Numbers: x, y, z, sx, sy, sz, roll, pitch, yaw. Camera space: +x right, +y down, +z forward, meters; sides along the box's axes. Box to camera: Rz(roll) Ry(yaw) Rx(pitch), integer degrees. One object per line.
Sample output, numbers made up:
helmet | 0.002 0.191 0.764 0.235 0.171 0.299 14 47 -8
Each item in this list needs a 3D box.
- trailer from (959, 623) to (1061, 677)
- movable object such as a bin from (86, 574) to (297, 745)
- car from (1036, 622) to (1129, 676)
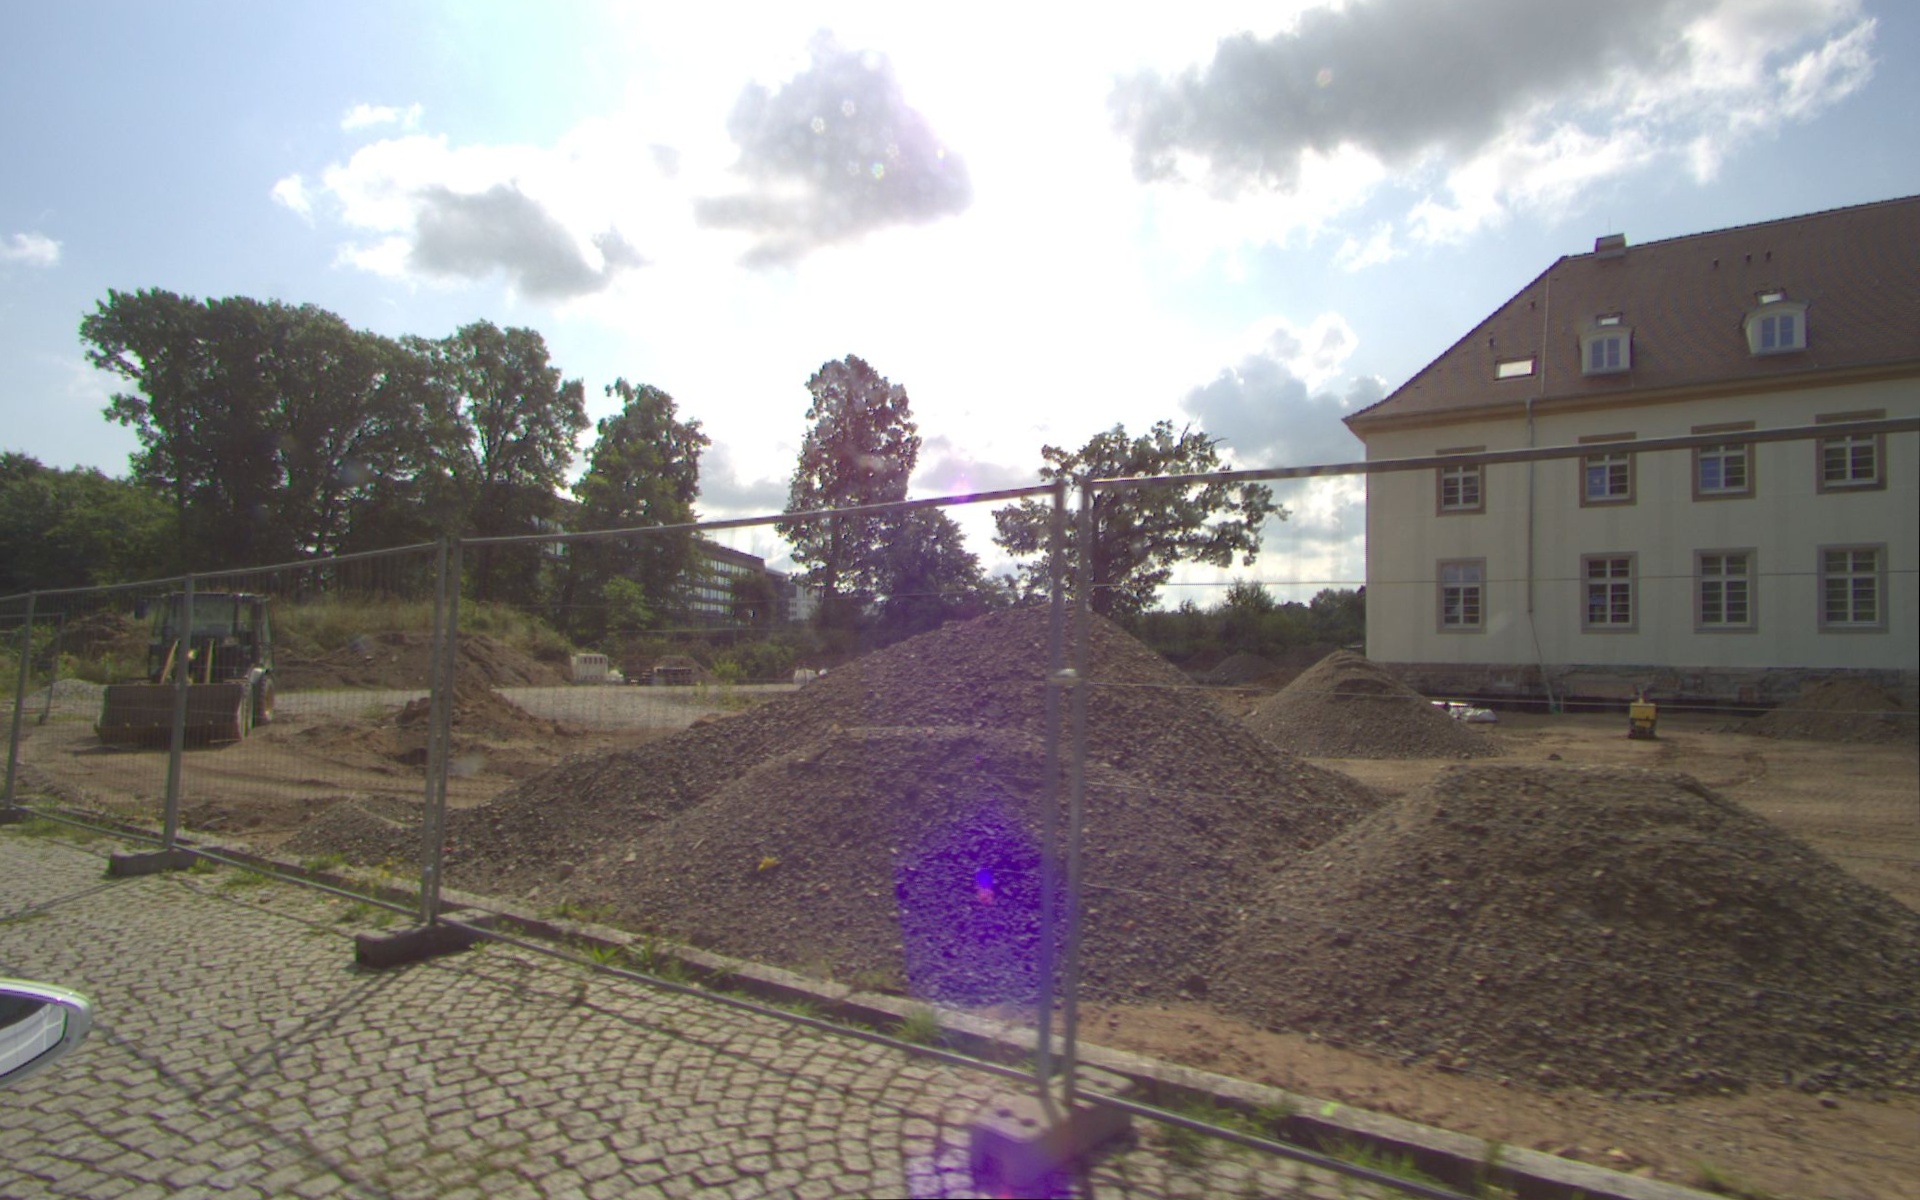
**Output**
trailer | 2.440 2.406 48.327 4.785 2.504 1.948 2 -2 -36
movable object such as a bin | -13.508 0.968 18.014 2.118 2.554 5.630 1 -1 -28
car | 6.420 2.538 51.917 2.221 2.623 5.397 -1 -3 40
